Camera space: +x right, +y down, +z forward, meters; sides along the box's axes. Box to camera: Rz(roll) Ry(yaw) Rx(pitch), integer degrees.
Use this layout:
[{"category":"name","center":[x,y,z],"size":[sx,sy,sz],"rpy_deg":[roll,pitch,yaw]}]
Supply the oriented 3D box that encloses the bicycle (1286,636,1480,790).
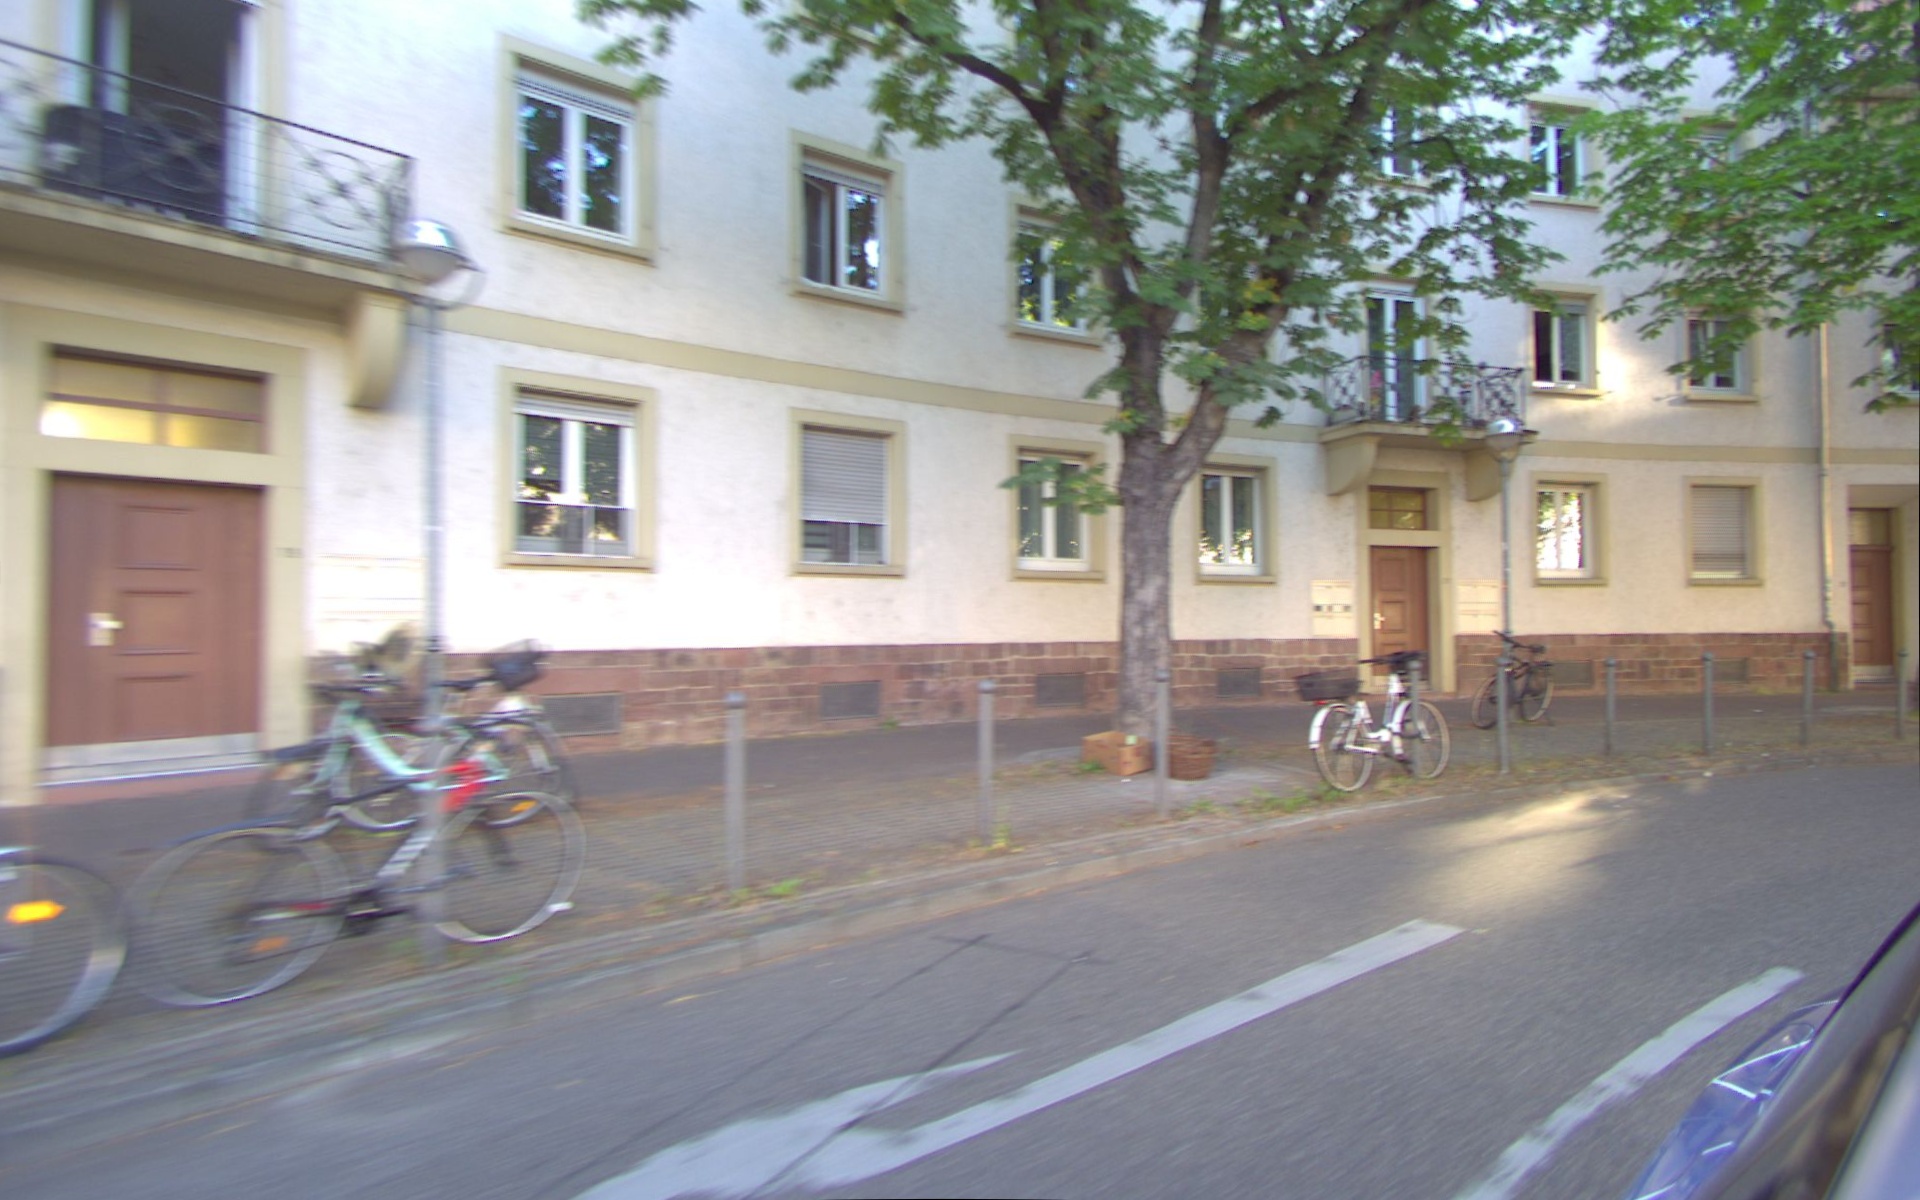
[{"category":"bicycle","center":[3.569,0.888,8.466],"size":[1.936,1.109,0.514],"rpy_deg":[0,0,-34]}]

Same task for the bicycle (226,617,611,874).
[{"category":"bicycle","center":[-3.169,0.759,6.044],"size":[1.929,1.293,0.719],"rpy_deg":[0,0,-34]}]

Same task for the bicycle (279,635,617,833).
[{"category":"bicycle","center":[-3.353,0.811,6.733],"size":[1.928,1.122,0.669],"rpy_deg":[0,-2,-33]}]

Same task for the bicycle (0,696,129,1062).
[{"category":"bicycle","center":[-3.554,0.881,3.019],"size":[1.604,1.077,0.482],"rpy_deg":[1,0,-36]}]

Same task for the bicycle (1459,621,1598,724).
[{"category":"bicycle","center":[6.852,0.824,12.163],"size":[1.824,1.133,0.802],"rpy_deg":[0,-2,-38]}]

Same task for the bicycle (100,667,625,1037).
[{"category":"bicycle","center":[-2.292,0.874,4.051],"size":[1.708,1.121,0.527],"rpy_deg":[1,1,-38]}]
